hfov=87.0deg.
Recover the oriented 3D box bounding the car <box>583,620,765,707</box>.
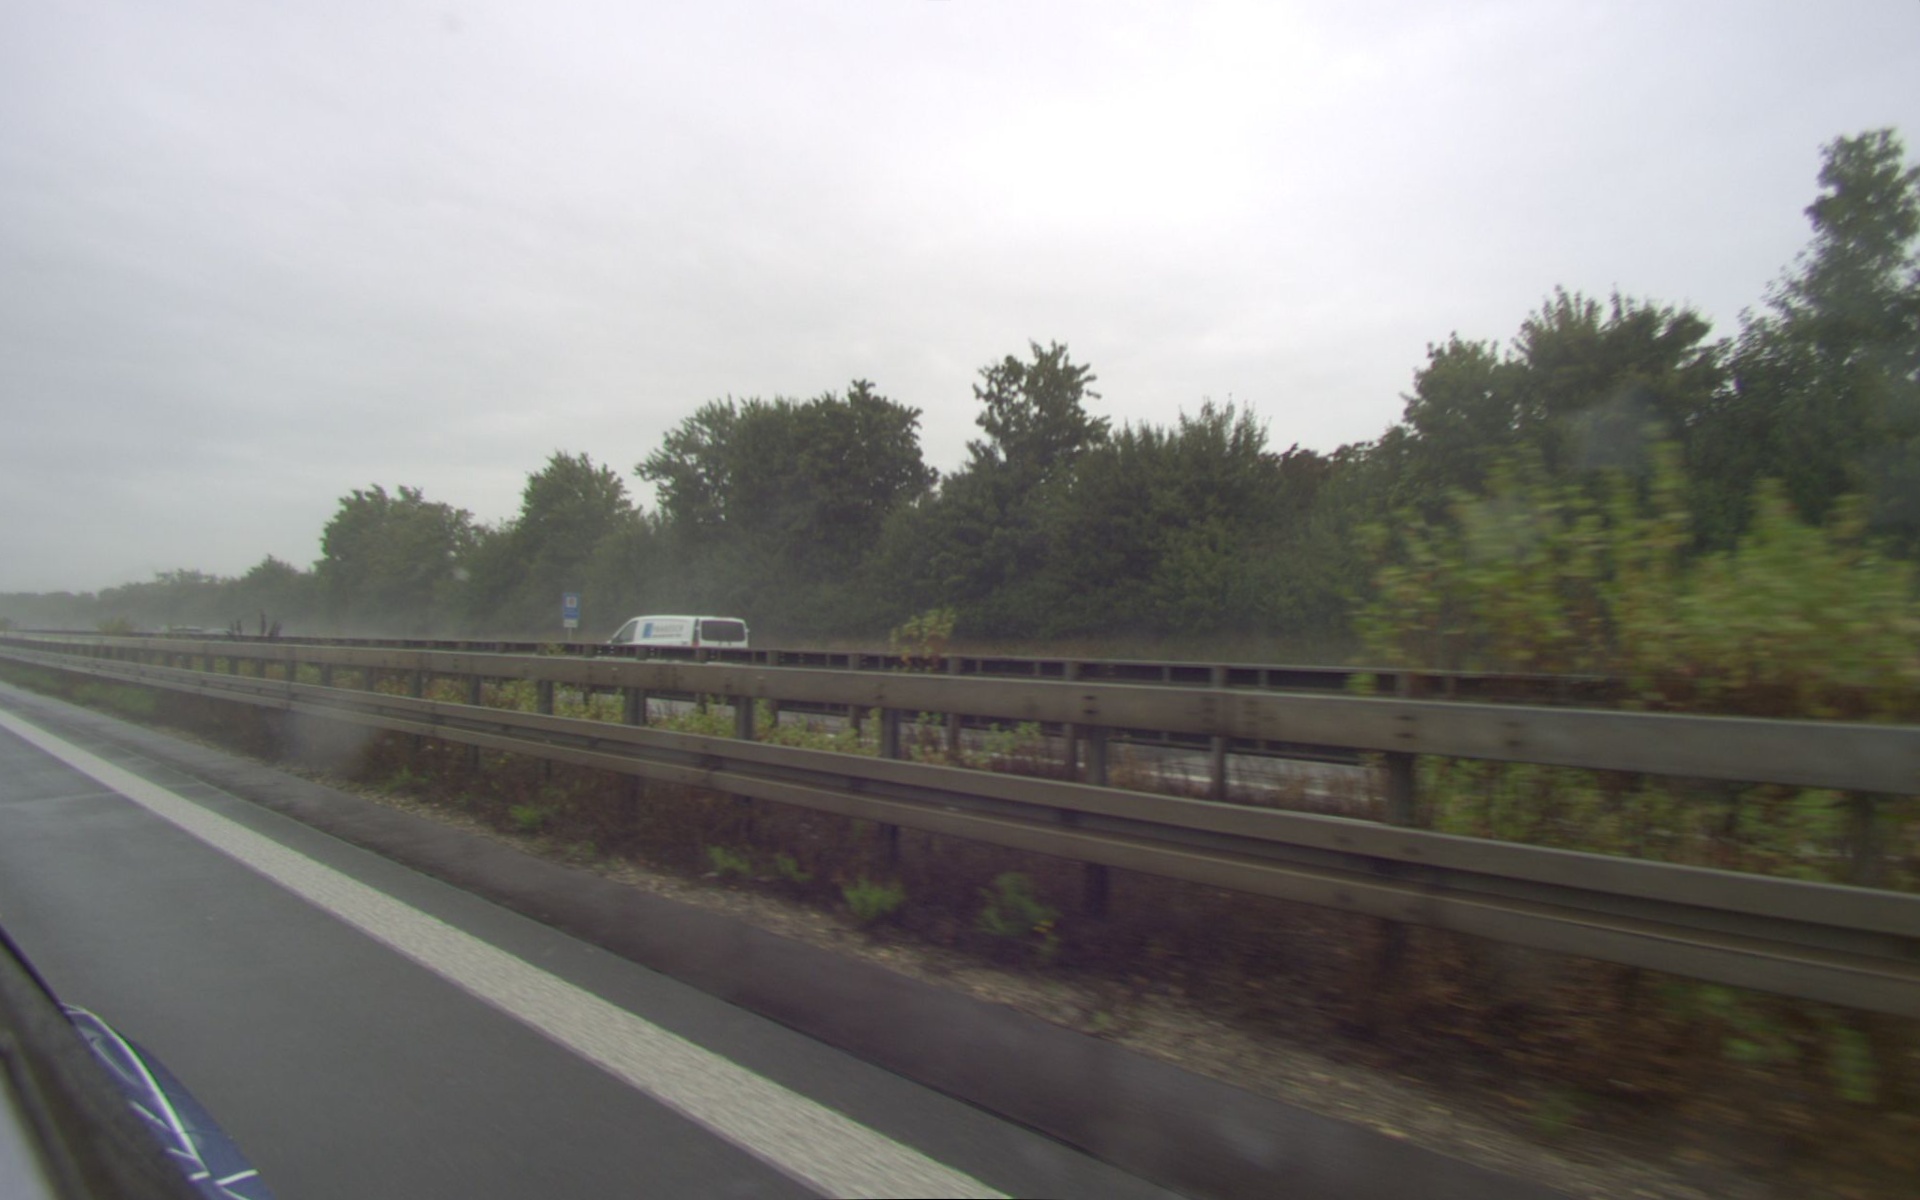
[{"bbox_3d":[-7.607,1.616,26.561,5.398,2.029,1.909,-2,-2,41],"label":"car"}]

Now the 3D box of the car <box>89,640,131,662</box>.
[{"bbox_3d":[-65.321,3.927,77.725,4.758,1.579,1.715,-2,-1,41],"label":"car"}]
